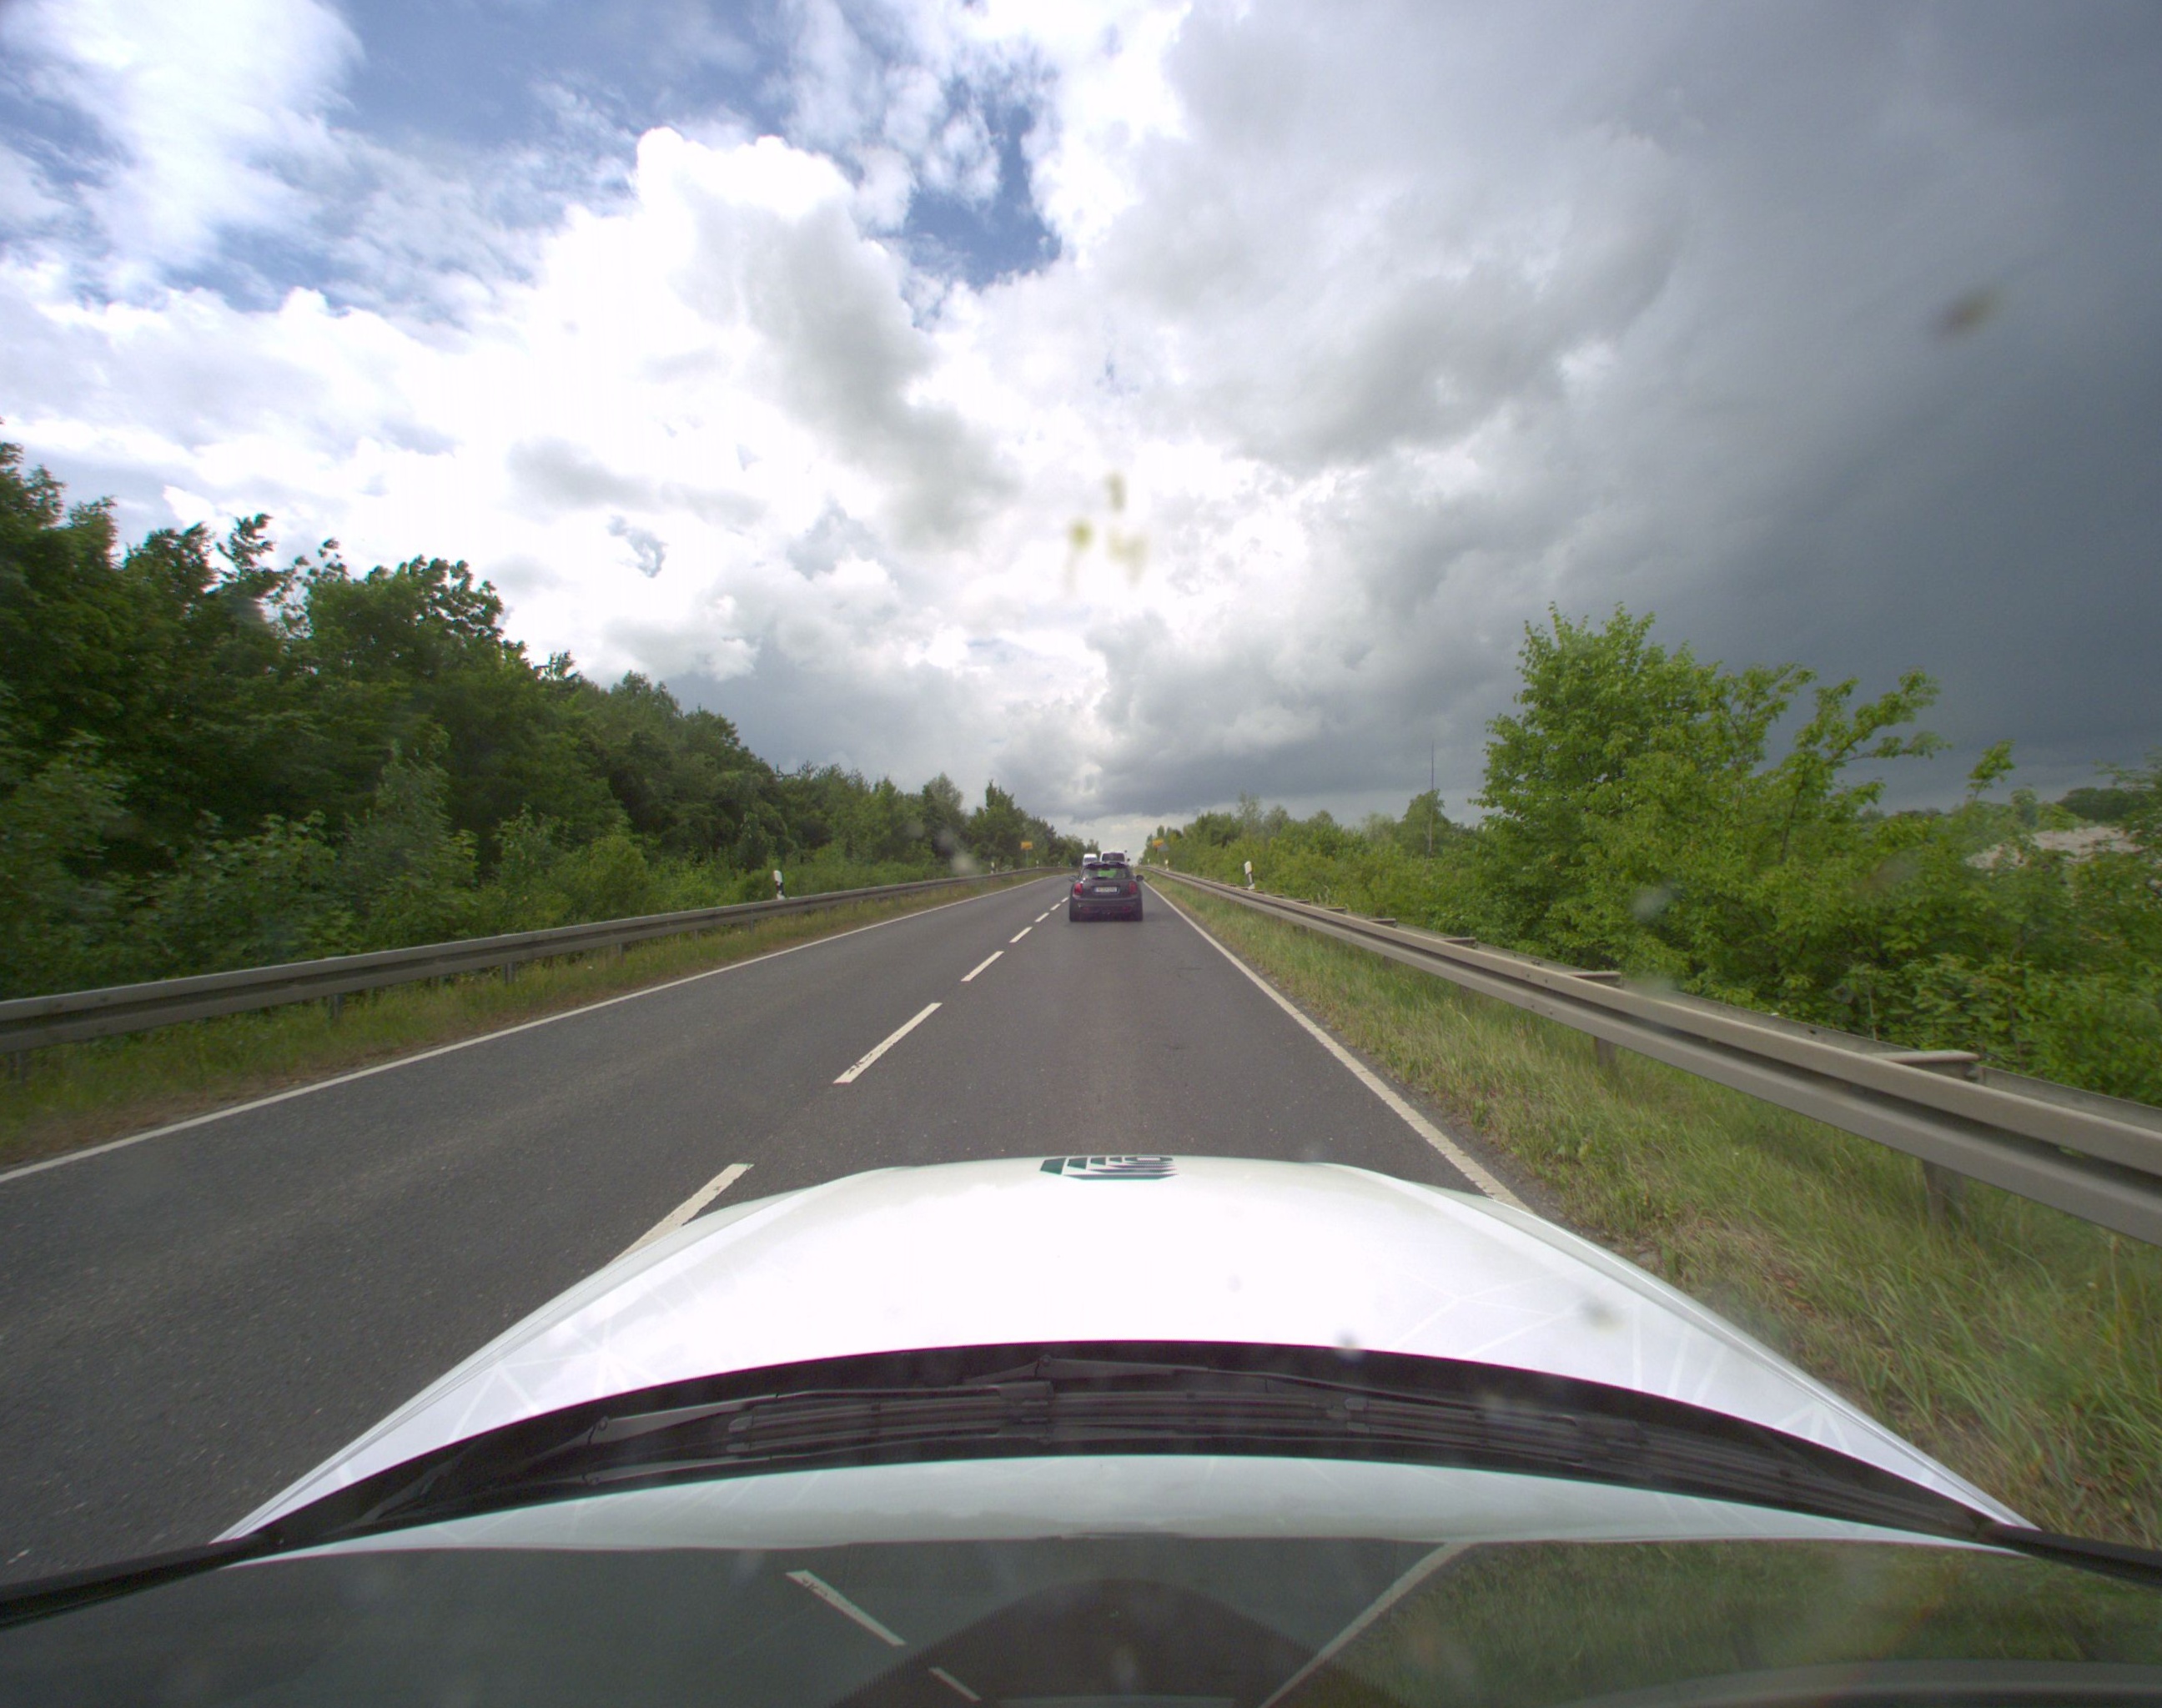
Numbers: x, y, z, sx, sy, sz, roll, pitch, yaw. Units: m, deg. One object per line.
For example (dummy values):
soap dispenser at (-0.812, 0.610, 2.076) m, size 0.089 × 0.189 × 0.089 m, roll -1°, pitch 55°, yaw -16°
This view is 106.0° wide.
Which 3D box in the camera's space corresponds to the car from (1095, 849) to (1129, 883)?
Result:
car at (2.008, 0.744, 52.016) m, size 2.014 × 2.013 × 4.003 m, roll -1°, pitch -1°, yaw 3°

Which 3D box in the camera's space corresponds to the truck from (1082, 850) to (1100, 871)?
truck at (1.437, 0.876, 111.942) m, size 2.056 × 2.742 × 7.013 m, roll -3°, pitch -1°, yaw 3°

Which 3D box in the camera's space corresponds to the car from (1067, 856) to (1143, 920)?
car at (0.584, 0.791, 20.725) m, size 1.726 × 1.456 × 4.000 m, roll -1°, pitch 0°, yaw 1°
